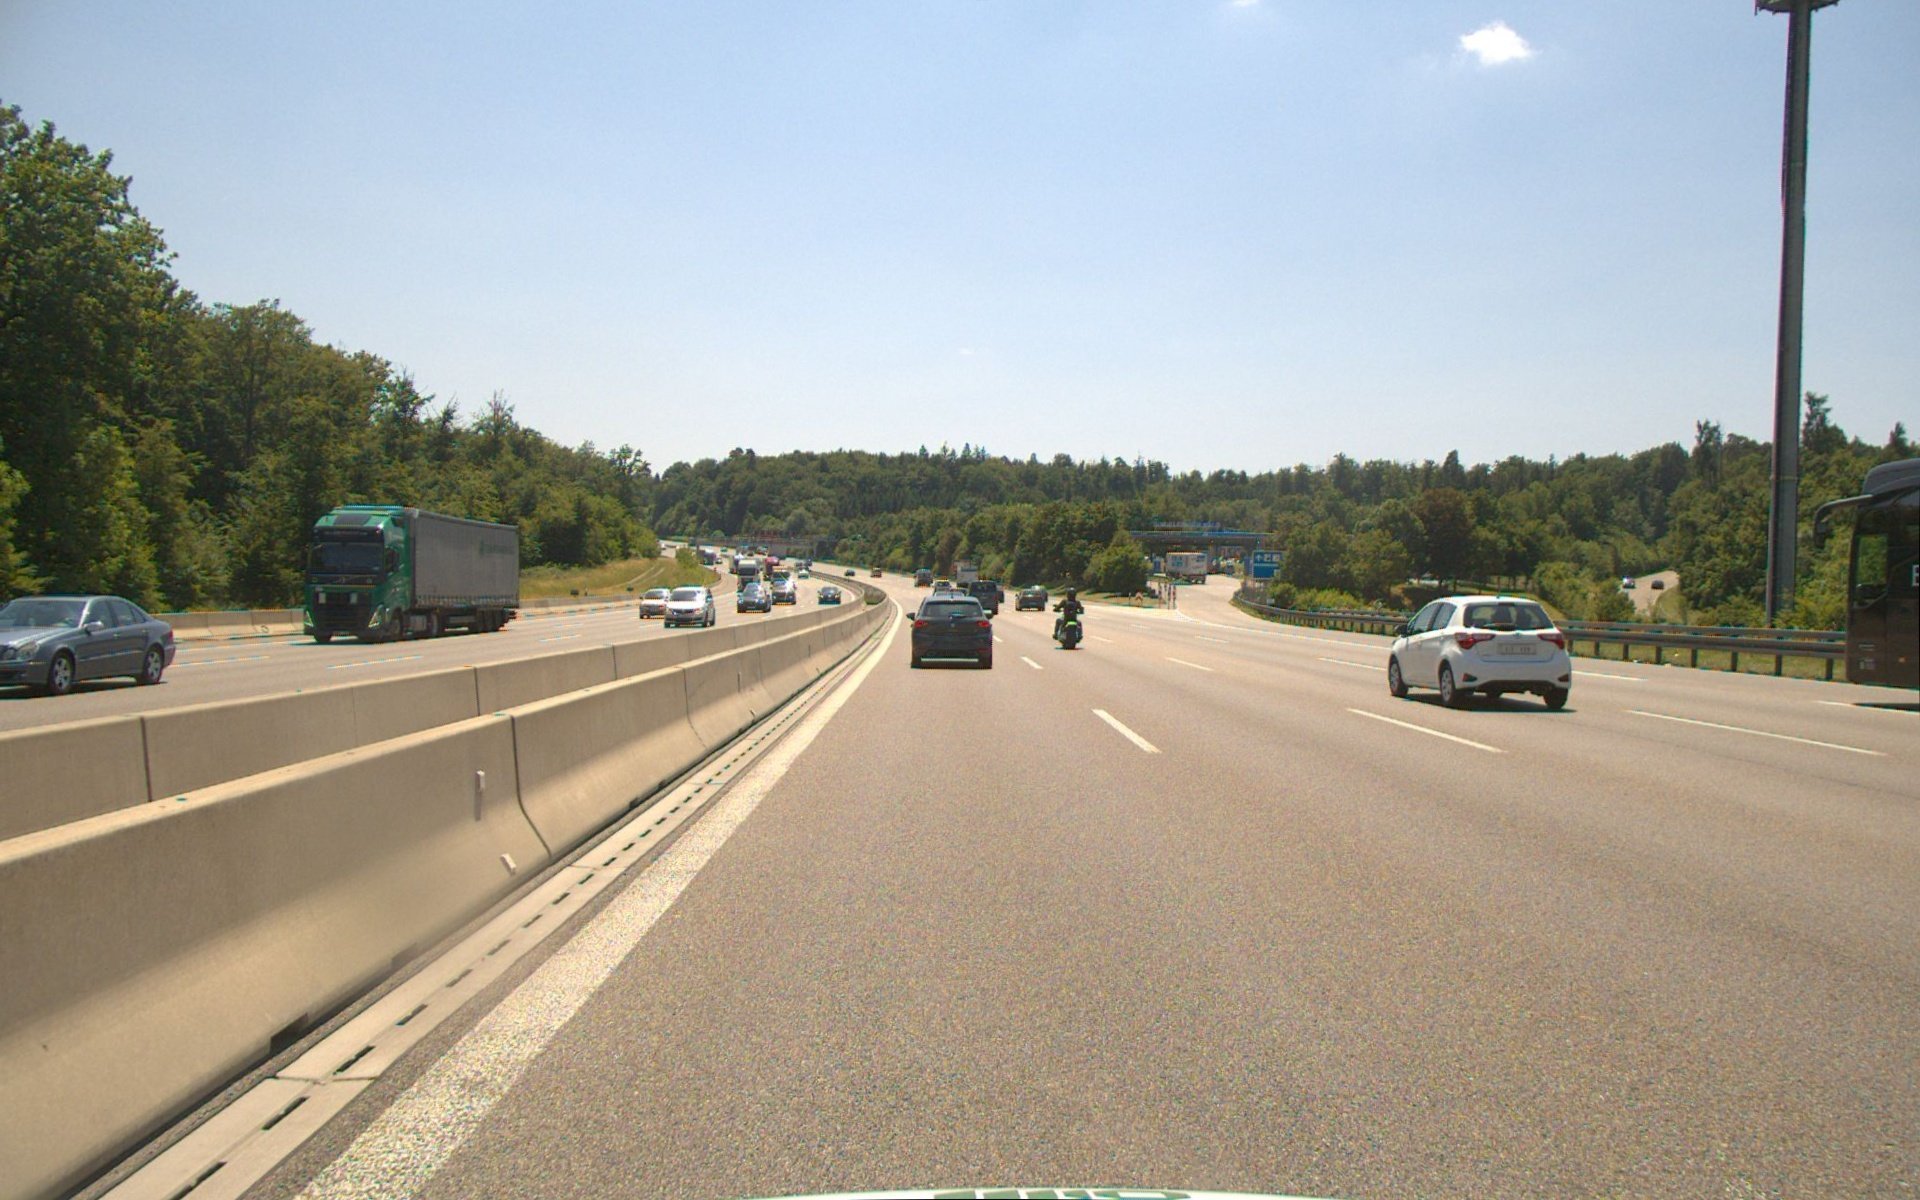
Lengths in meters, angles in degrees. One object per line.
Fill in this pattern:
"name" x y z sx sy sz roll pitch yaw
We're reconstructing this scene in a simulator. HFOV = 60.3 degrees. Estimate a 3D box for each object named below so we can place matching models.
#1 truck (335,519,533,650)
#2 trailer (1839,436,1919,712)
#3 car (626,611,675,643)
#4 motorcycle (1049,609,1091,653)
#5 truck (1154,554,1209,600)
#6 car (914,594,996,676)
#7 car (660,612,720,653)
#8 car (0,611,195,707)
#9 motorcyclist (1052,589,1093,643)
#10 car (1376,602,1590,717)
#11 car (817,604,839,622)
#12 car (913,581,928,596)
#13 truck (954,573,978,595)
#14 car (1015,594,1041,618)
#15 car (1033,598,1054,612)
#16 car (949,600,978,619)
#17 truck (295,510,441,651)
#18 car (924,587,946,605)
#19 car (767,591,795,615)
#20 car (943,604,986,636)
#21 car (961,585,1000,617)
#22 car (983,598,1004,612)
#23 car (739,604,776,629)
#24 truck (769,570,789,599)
"truck" -18.282 -0.473 58.850 2.635 4.096 14.295 0 0 -1
"trailer" 14.442 -0.367 17.705 2.799 3.752 13.540 1 0 0
"car" -15.576 1.326 83.427 1.835 1.561 4.134 0 0 -2
"motorcycle" 3.030 0.847 45.754 0.957 1.149 2.270 1 0 -1
"truck" 31.471 -3.191 236.195 5.397 6.376 15.426 0 0 -2
"car" -0.088 0.696 34.718 1.591 1.513 3.686 1 1 0
"car" -11.121 1.314 68.351 1.794 1.589 4.775 0 0 -1
"car" -13.899 0.856 25.800 1.794 1.324 4.728 1 0 -1
"motorcyclist" 3.093 0.430 45.617 0.943 1.463 1.234 0 0 -4
"car" 7.422 0.792 23.920 1.632 1.458 4.375 -2 0 -1
"car" -10.902 1.062 136.774 1.569 1.494 4.504 0 0 -2
"car" -5.937 -1.665 246.364 1.954 2.048 4.671 3 1 -4
"truck" 0.737 -2.153 223.024 2.673 2.834 5.678 3 1 -4
"car" 4.484 0.399 110.024 1.640 1.456 3.686 2 0 2
"car" 7.290 0.422 145.289 1.576 1.233 3.459 0 0 -2
"car" 0.246 0.714 125.535 1.806 1.243 4.221 3 1 -4
"truck" -18.161 -0.577 51.067 2.604 4.096 5.509 0 0 -2
"car" -2.576 -0.434 171.152 1.954 1.713 4.420 3 1 -4
"car" -14.589 0.262 135.216 1.835 1.974 5.772 0 0 -2
"car" 0.160 0.850 71.574 1.746 1.287 3.459 1 0 -2
"car" 1.225 0.043 99.862 2.055 1.884 4.078 0 0 -3
"car" 2.906 0.429 143.952 1.576 1.233 3.459 1 0 -2
"car" -12.728 1.039 104.338 1.834 1.502 5.110 0 0 -1
"truck" -27.038 -2.309 247.391 2.480 4.250 9.614 0 0 -3
